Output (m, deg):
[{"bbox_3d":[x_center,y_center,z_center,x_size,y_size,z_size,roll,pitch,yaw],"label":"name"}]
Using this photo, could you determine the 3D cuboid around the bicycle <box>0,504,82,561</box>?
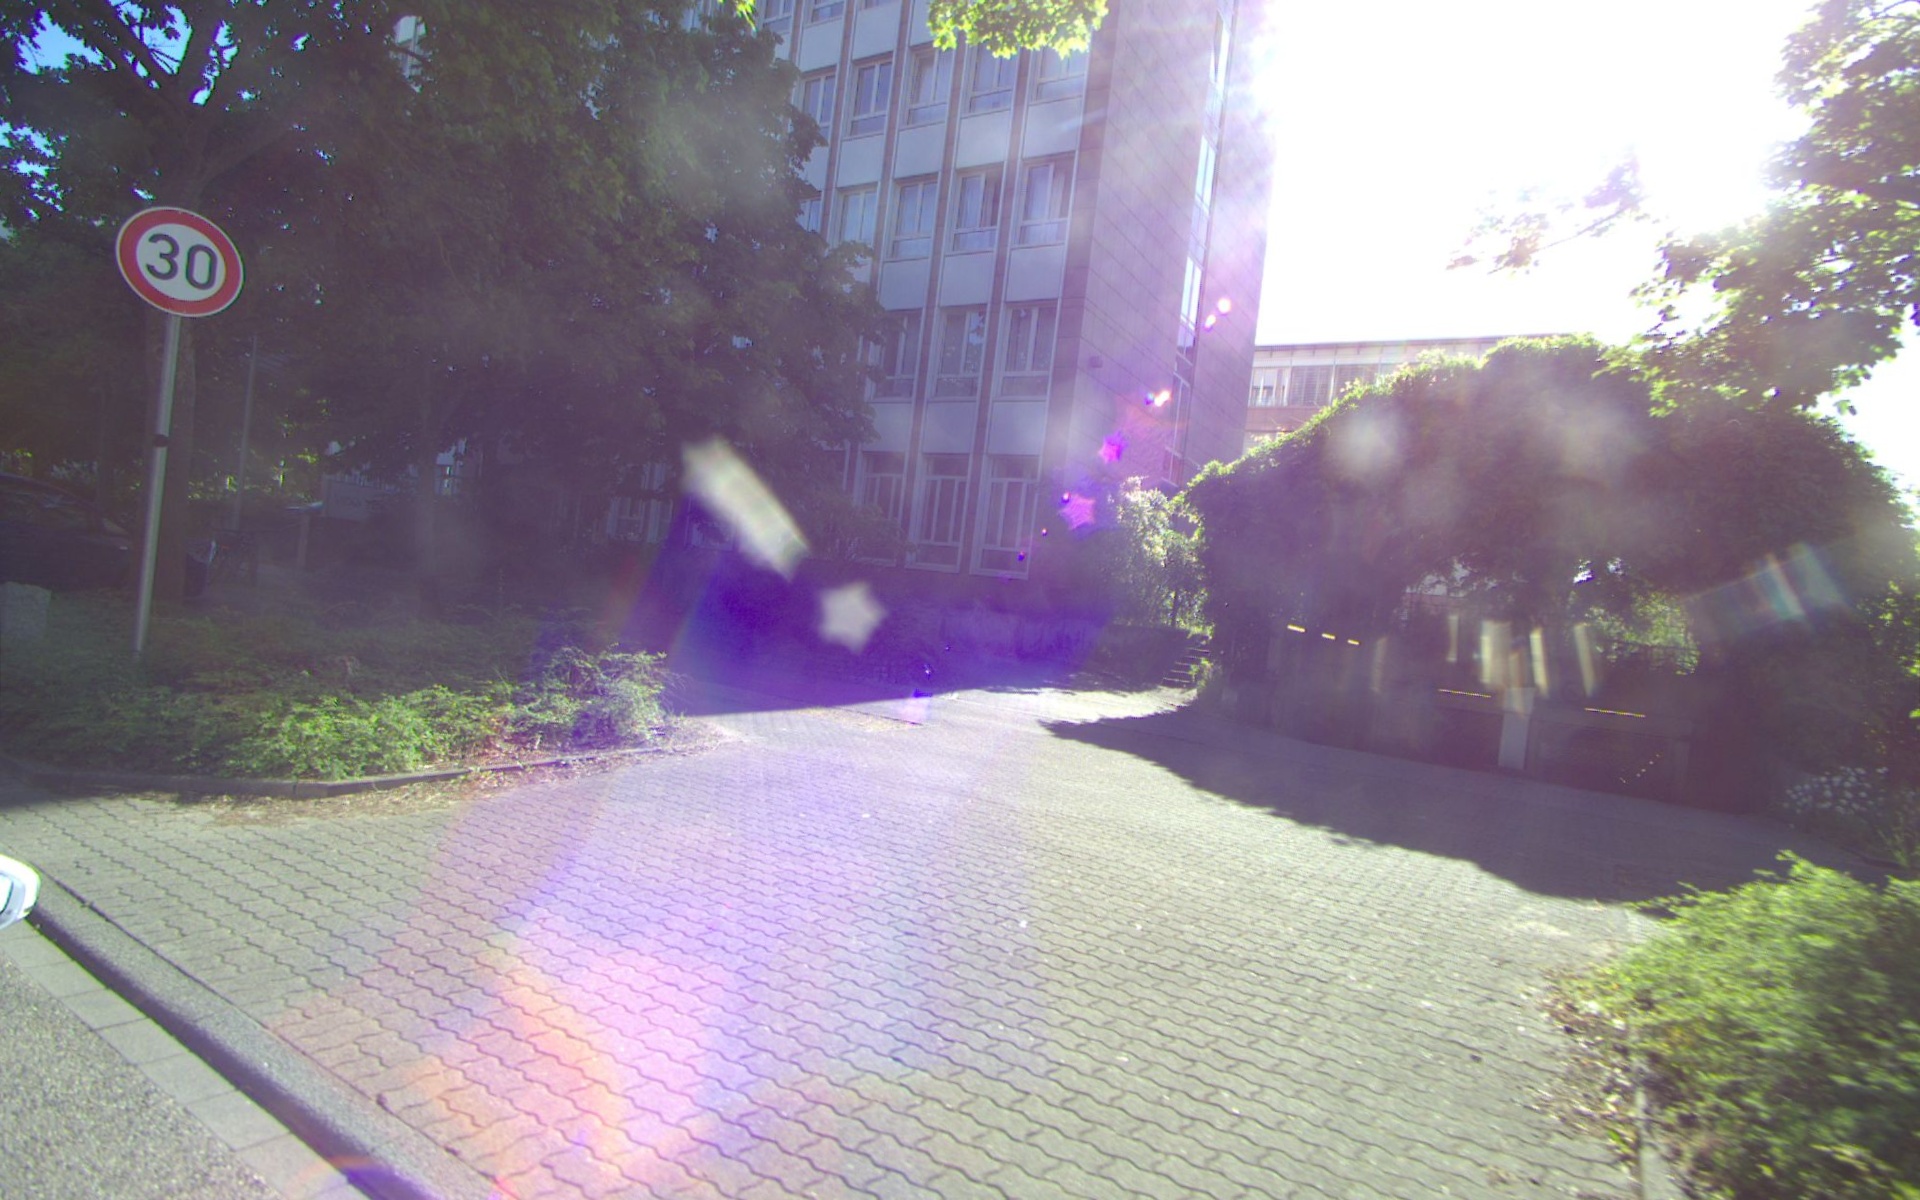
[{"bbox_3d":[-20.994,-1.537,22.956,1.753,1.091,0.380,7,0,11],"label":"bicycle"}]

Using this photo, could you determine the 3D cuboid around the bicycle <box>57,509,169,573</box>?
[{"bbox_3d":[-17.634,-1.215,20.968,1.757,1.091,0.379,7,0,-10],"label":"bicycle"}]

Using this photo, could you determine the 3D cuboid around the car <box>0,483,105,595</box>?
[{"bbox_3d":[-14.502,-1.003,13.834,1.879,1.485,3.742,6,0,33],"label":"car"}]

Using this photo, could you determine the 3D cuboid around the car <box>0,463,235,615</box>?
[{"bbox_3d":[-11.829,-0.829,12.361,1.826,1.654,4.274,7,0,29],"label":"car"}]

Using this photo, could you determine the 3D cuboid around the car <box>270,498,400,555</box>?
[{"bbox_3d":[-27.471,-3.196,44.359,1.965,1.691,4.313,6,-3,28],"label":"car"}]

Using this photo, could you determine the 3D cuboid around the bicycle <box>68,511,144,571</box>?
[{"bbox_3d":[-18.561,-1.286,21.854,1.754,1.091,0.380,7,0,21],"label":"bicycle"}]

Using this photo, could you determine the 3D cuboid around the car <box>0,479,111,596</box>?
[{"bbox_3d":[-14.634,-1.055,13.970,1.864,1.545,3.887,7,0,31],"label":"car"}]

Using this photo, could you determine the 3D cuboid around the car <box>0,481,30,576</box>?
[{"bbox_3d":[-16.798,-1.308,15.225,1.606,1.485,3.639,6,0,31],"label":"car"}]

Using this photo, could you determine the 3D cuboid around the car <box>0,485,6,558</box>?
[{"bbox_3d":[-18.824,-1.507,16.798,1.848,1.467,3.758,6,0,29],"label":"car"}]

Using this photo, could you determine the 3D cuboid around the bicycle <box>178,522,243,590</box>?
[{"bbox_3d":[-13.350,-0.795,17.903,1.856,1.060,0.378,6,2,37],"label":"bicycle"}]
